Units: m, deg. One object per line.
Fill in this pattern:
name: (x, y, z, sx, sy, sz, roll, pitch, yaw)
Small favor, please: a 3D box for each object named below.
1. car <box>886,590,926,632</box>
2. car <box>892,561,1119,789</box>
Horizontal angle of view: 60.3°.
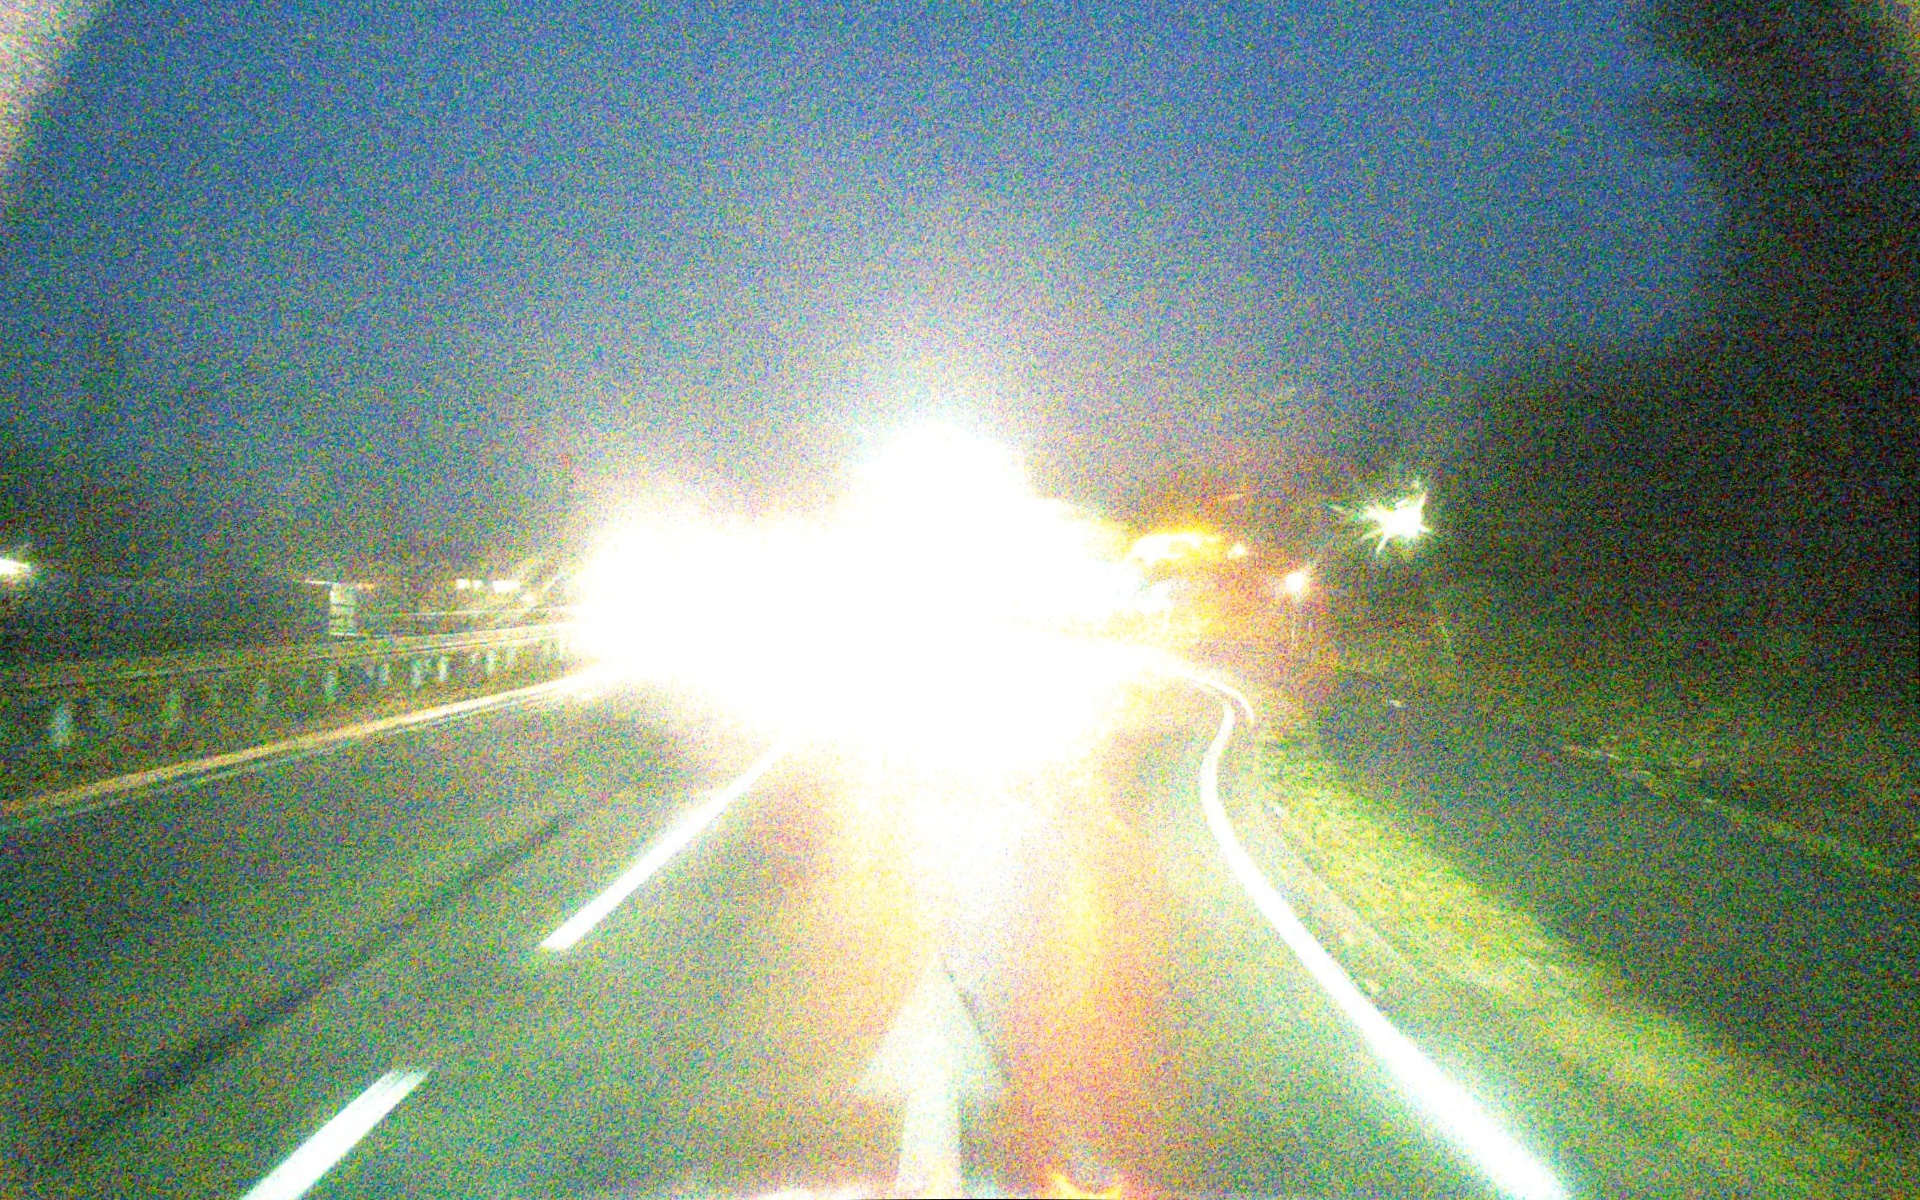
car: (-2.897, 0.607, 88.235, 1.954, 2.049, 3.996, 0, -2, -4)
car: (0.317, 0.596, 14.870, 1.739, 1.742, 3.999, 1, 0, -1)
